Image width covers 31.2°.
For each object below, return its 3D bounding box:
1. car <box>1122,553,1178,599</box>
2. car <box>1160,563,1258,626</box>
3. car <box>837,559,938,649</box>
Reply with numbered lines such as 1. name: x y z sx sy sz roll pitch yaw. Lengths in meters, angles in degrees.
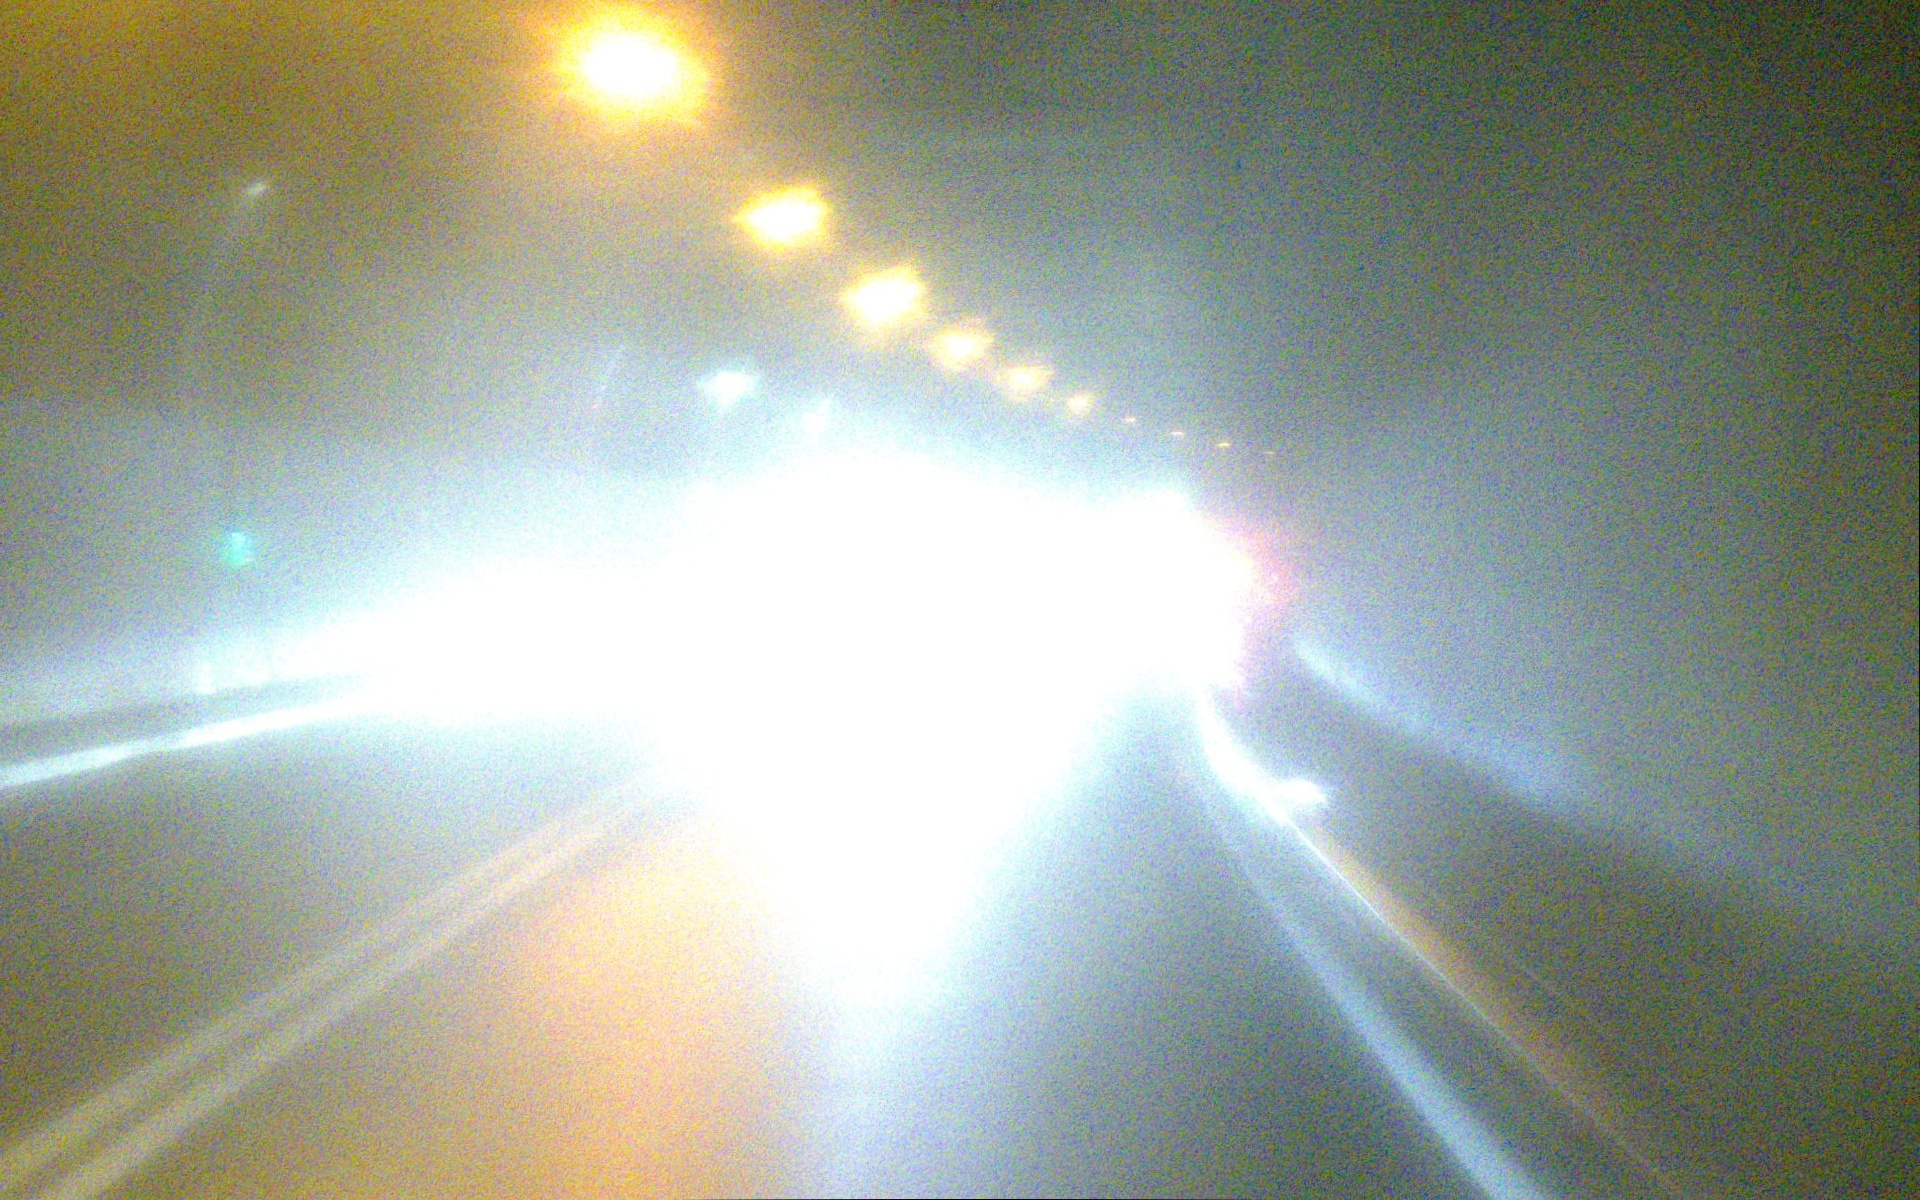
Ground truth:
1. car: 5.993 -0.780 108.059 1.630 1.392 3.999 0 1 5
2. car: 6.728 -0.168 92.478 1.995 1.645 3.998 1 1 14
3. car: -1.258 0.046 58.299 1.625 1.442 3.937 1 1 -2
